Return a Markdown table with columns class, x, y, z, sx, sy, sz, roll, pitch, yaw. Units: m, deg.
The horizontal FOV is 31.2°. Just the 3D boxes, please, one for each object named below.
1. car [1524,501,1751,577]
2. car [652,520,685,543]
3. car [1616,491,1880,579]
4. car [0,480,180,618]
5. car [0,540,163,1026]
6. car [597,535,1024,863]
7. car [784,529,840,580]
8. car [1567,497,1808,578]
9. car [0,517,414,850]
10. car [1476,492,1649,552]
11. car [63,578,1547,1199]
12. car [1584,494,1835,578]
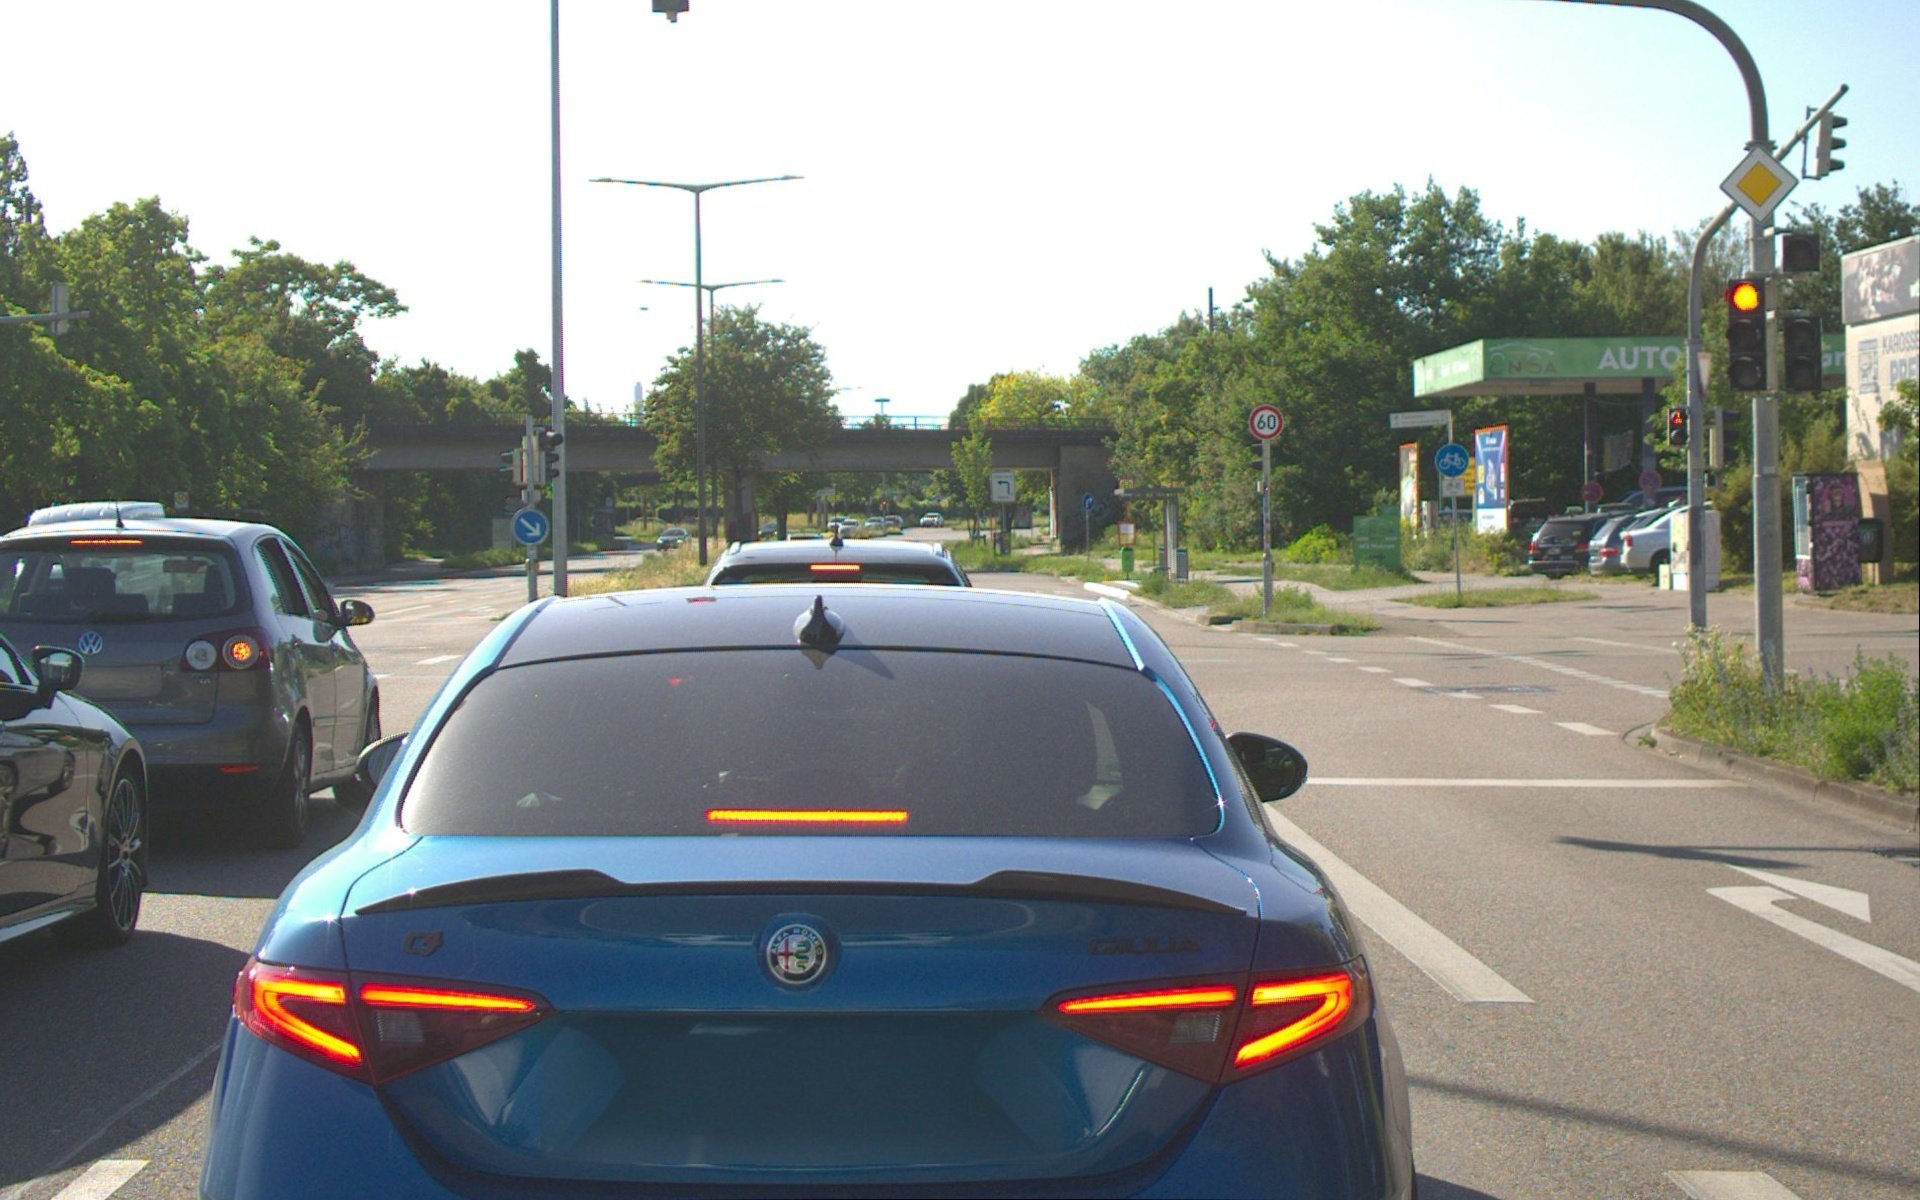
| class | x | y | z | sx | sy | sz | roll | pitch | yaw |
| --- | --- | --- | --- | --- | --- | --- | --- | --- | --- |
| car | 14.587 | -1.314 | 74.168 | 4.489 | 1.449 | 1.858 | -2 | 1 | 1 |
| car | -19.223 | -4.508 | 226.707 | 1.759 | 1.485 | 4.478 | -2 | 1 | 0 |
| car | 14.768 | -1.211 | 64.585 | 4.489 | 1.449 | 1.858 | -2 | 1 | 1 |
| car | -16.834 | -0.983 | 66.735 | 2.022 | 2.439 | 5.822 | -4 | 1 | -1 |
| car | -3.829 | 0.546 | 10.630 | 1.796 | 1.485 | 4.476 | 1 | 1 | -2 |
| car | -0.719 | 0.410 | 17.254 | 1.850 | 1.413 | 4.403 | 1 | 1 | -2 |
| car | -5.411 | -1.669 | 125.991 | 1.891 | 1.809 | 4.000 | 1 | 1 | -1 |
| car | 14.807 | -1.266 | 70.118 | 4.489 | 1.449 | 1.858 | -2 | 1 | 1 |
| car | -3.995 | 0.352 | 17.730 | 1.759 | 1.485 | 4.403 | 1 | 1 | -2 |
| car | 17.033 | -2.197 | 97.332 | 4.551 | 1.485 | 1.765 | -2 | 1 | 1 |
| car | -0.262 | 0.687 | 6.621 | 1.895 | 1.413 | 4.403 | 1 | 1 | -2 |
| car | 14.651 | -1.249 | 67.364 | 4.489 | 1.449 | 1.858 | -2 | 1 | 1 |
